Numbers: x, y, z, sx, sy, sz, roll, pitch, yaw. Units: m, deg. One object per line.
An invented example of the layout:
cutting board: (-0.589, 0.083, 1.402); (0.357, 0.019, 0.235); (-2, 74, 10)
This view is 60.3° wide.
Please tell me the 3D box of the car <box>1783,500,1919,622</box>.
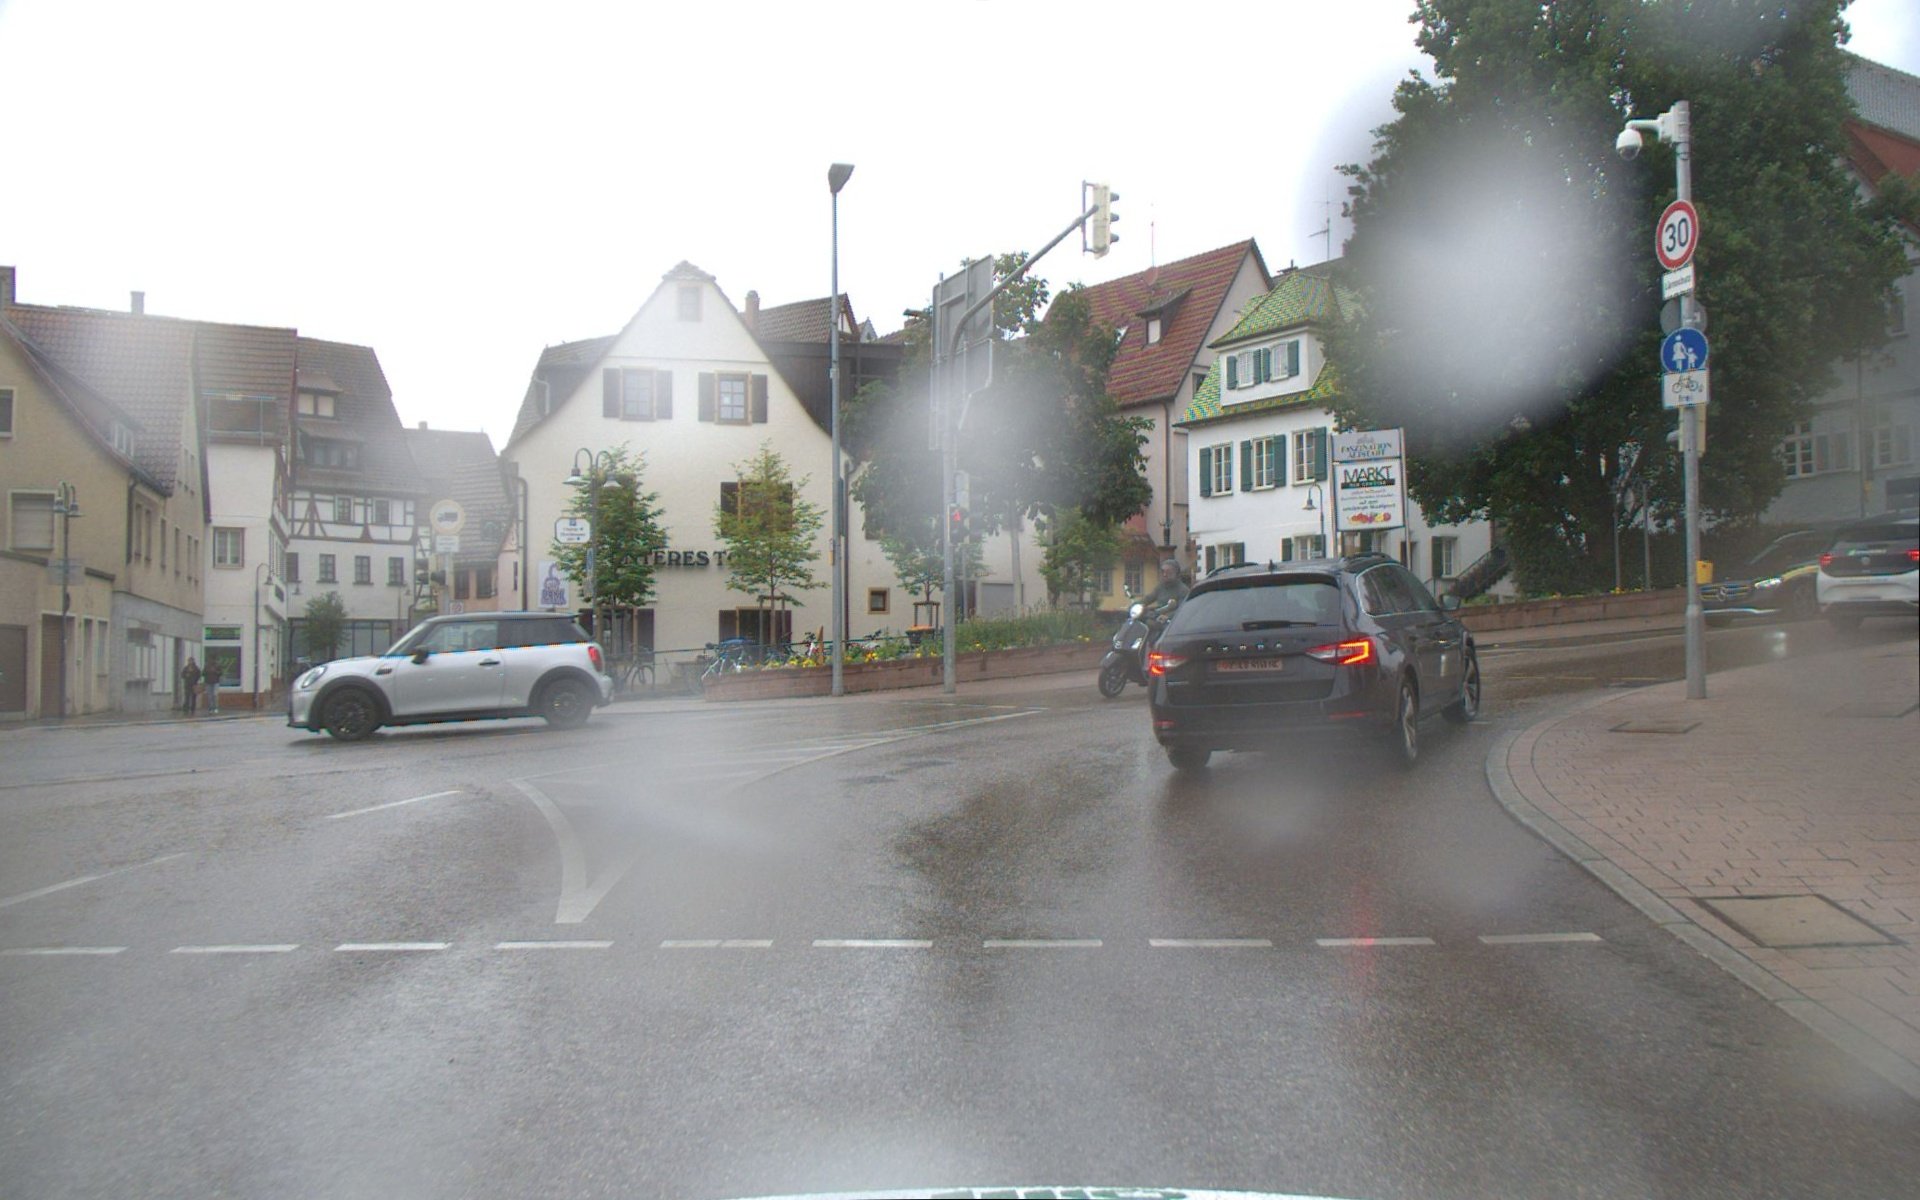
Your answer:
car: (13.096, -0.591, 22.888); (3.971, 1.498, 1.832); (-4, 1, -45)

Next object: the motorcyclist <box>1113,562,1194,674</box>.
motorcyclist: (2.434, 0.229, 20.825); (0.795, 1.378, 0.665); (0, -1, 37)

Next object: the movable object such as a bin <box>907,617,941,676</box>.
movable object such as a bin: (-0.817, 1.040, 37.264); (0.670, 1.299, 0.747); (1, -1, -7)

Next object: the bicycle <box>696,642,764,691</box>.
bicycle: (-4.724, 1.357, 34.031); (0.386, 0.928, 1.460); (1, 2, 43)

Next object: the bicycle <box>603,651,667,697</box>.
bicycle: (-6.474, 1.460, 32.984); (0.331, 0.833, 1.432); (1, 1, 35)

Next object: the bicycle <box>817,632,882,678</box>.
bicycle: (-2.421, 1.199, 36.324); (1.452, 0.928, 0.388); (-1, 1, -34)

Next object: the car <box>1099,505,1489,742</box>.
car: (2.761, 0.106, 12.769); (1.850, 1.473, 4.354); (-3, 1, 26)

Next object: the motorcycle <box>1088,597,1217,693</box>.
motorcycle: (2.453, 0.574, 20.891); (0.755, 1.151, 1.909); (-2, -3, 36)

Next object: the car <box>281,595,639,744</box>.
car: (-6.020, 0.791, 20.253); (3.922, 1.456, 1.992); (-4, 0, -15)

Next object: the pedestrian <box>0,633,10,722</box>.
pedestrian: (-19.339, 1.548, 32.921); (0.543, 1.759, 0.537); (0, -3, -7)

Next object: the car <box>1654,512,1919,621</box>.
car: (14.052, -0.577, 27.888); (4.349, 1.565, 1.982); (-4, 1, -28)

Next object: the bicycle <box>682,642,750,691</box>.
bicycle: (-5.055, 1.375, 34.323); (0.386, 0.928, 1.460); (1, 2, 43)

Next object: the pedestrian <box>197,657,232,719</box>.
pedestrian: (-21.831, 2.566, 48.431); (0.765, 1.762, 0.629); (-2, 0, -13)

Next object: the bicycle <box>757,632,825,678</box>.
bicycle: (-3.615, 1.170, 35.379); (1.452, 0.928, 0.388); (-1, 1, -34)

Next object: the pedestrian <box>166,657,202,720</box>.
pedestrian: (-22.623, 2.568, 48.239); (0.765, 1.762, 0.629); (-2, 0, -13)
